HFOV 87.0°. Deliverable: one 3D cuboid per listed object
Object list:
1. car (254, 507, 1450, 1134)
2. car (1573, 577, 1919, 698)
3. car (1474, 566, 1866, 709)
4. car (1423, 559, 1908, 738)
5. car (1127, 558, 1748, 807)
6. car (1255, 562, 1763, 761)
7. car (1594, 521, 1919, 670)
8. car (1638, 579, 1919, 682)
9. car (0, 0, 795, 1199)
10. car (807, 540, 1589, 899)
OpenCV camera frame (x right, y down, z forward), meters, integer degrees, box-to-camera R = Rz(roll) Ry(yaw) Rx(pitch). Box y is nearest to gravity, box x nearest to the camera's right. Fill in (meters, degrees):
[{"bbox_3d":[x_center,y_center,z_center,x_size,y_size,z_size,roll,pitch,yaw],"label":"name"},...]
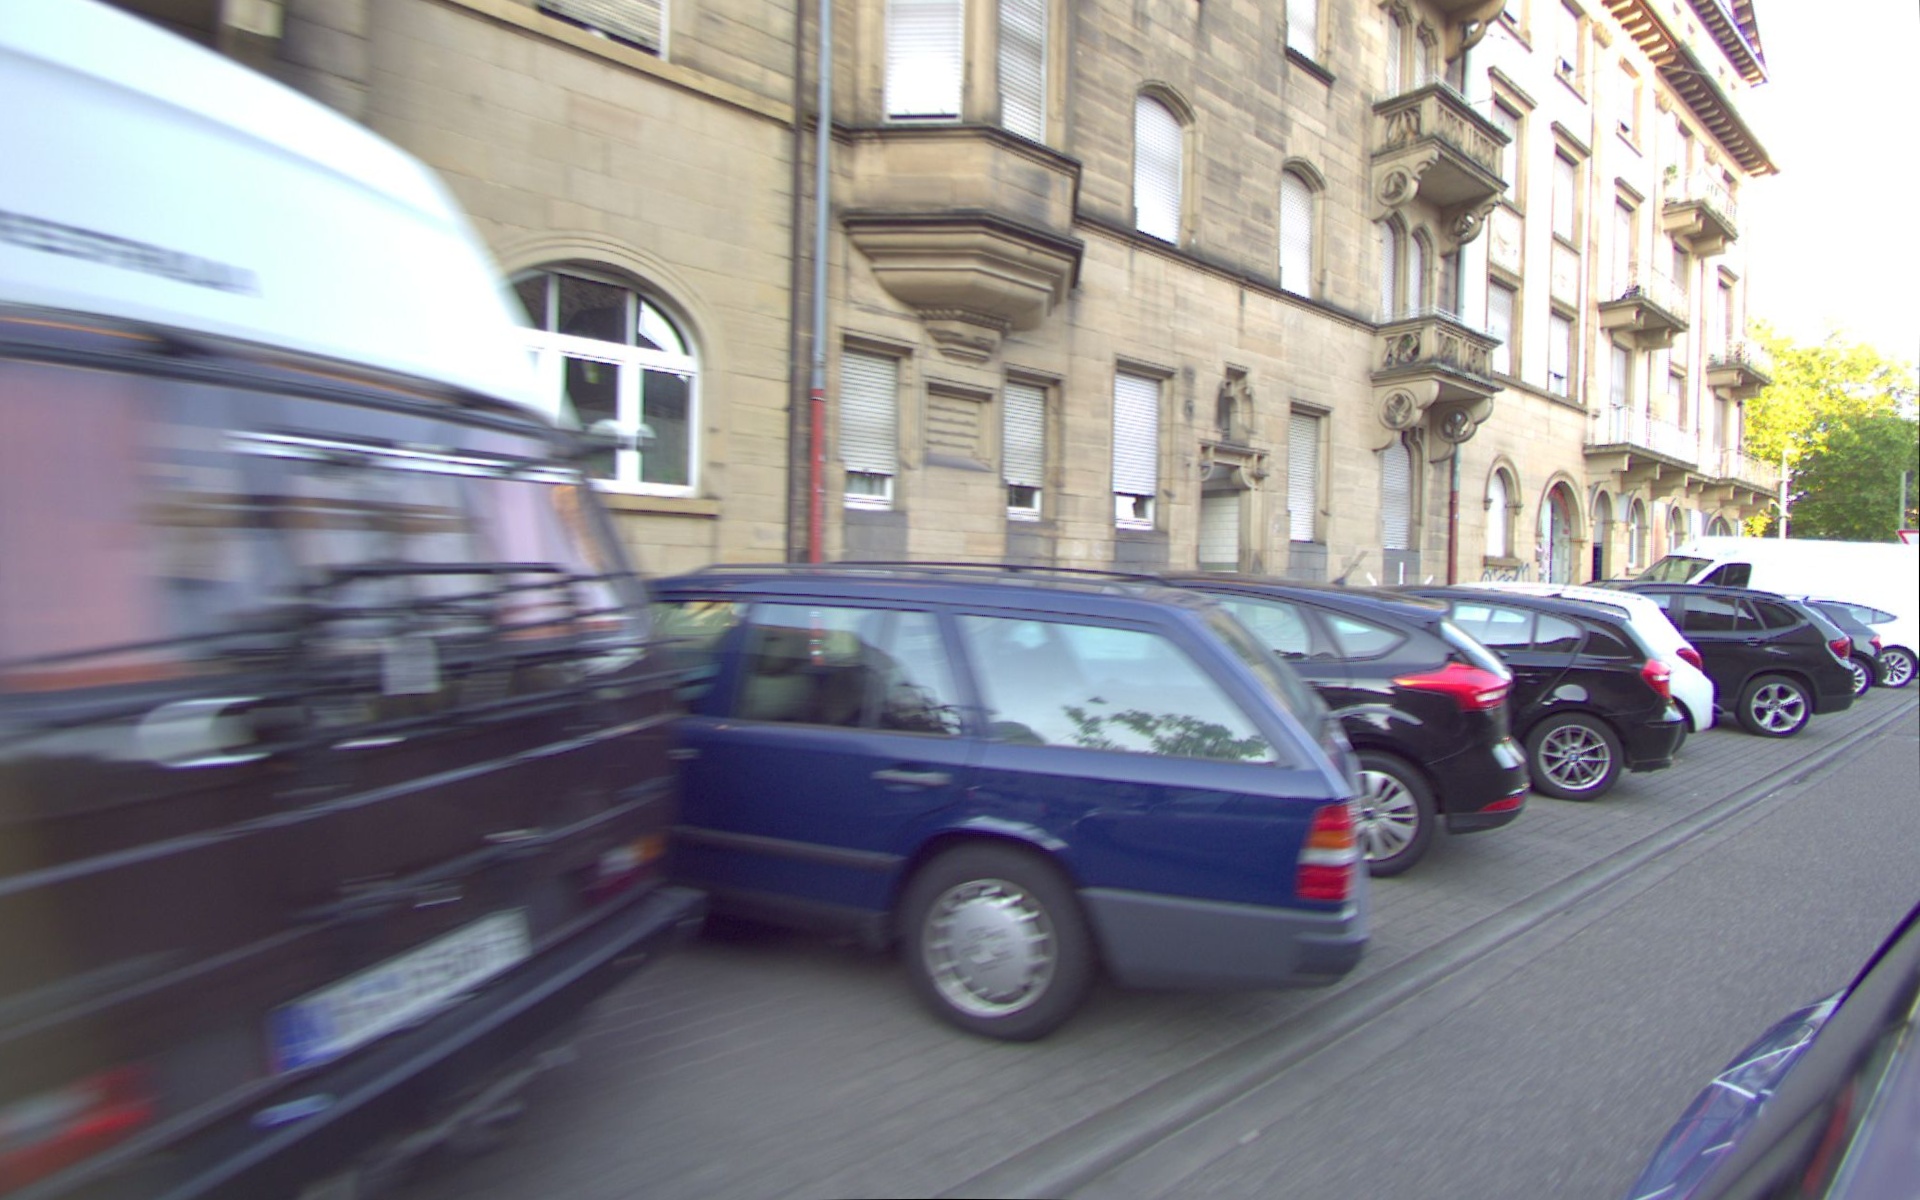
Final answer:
[{"bbox_3d":[-0.520,0.484,4.233,4.344,1.504,1.832,4,3,20],"label":"car"},{"bbox_3d":[11.968,0.502,15.527,3.854,1.463,1.871,3,4,10],"label":"car"},{"bbox_3d":[9.326,0.426,13.626,3.852,1.563,1.714,3,4,9],"label":"car"},{"bbox_3d":[7.719,0.435,11.534,4.036,1.627,1.811,3,3,12],"label":"car"},{"bbox_3d":[3.473,0.486,8.126,3.979,1.449,1.860,4,3,16],"label":"car"},{"bbox_3d":[5.070,0.476,9.987,3.999,1.516,1.747,3,3,15],"label":"car"},{"bbox_3d":[16.048,-0.155,19.655,5.789,2.582,2.192,2,4,9],"label":"car"},{"bbox_3d":[14.474,0.481,17.349,4.189,1.471,1.994,2,3,12],"label":"car"},{"bbox_3d":[-2.945,-0.017,2.655,4.668,2.578,1.905,1,2,21],"label":"car"},{"bbox_3d":[1.272,0.456,6.226,4.074,1.564,1.783,2,4,22],"label":"car"}]
